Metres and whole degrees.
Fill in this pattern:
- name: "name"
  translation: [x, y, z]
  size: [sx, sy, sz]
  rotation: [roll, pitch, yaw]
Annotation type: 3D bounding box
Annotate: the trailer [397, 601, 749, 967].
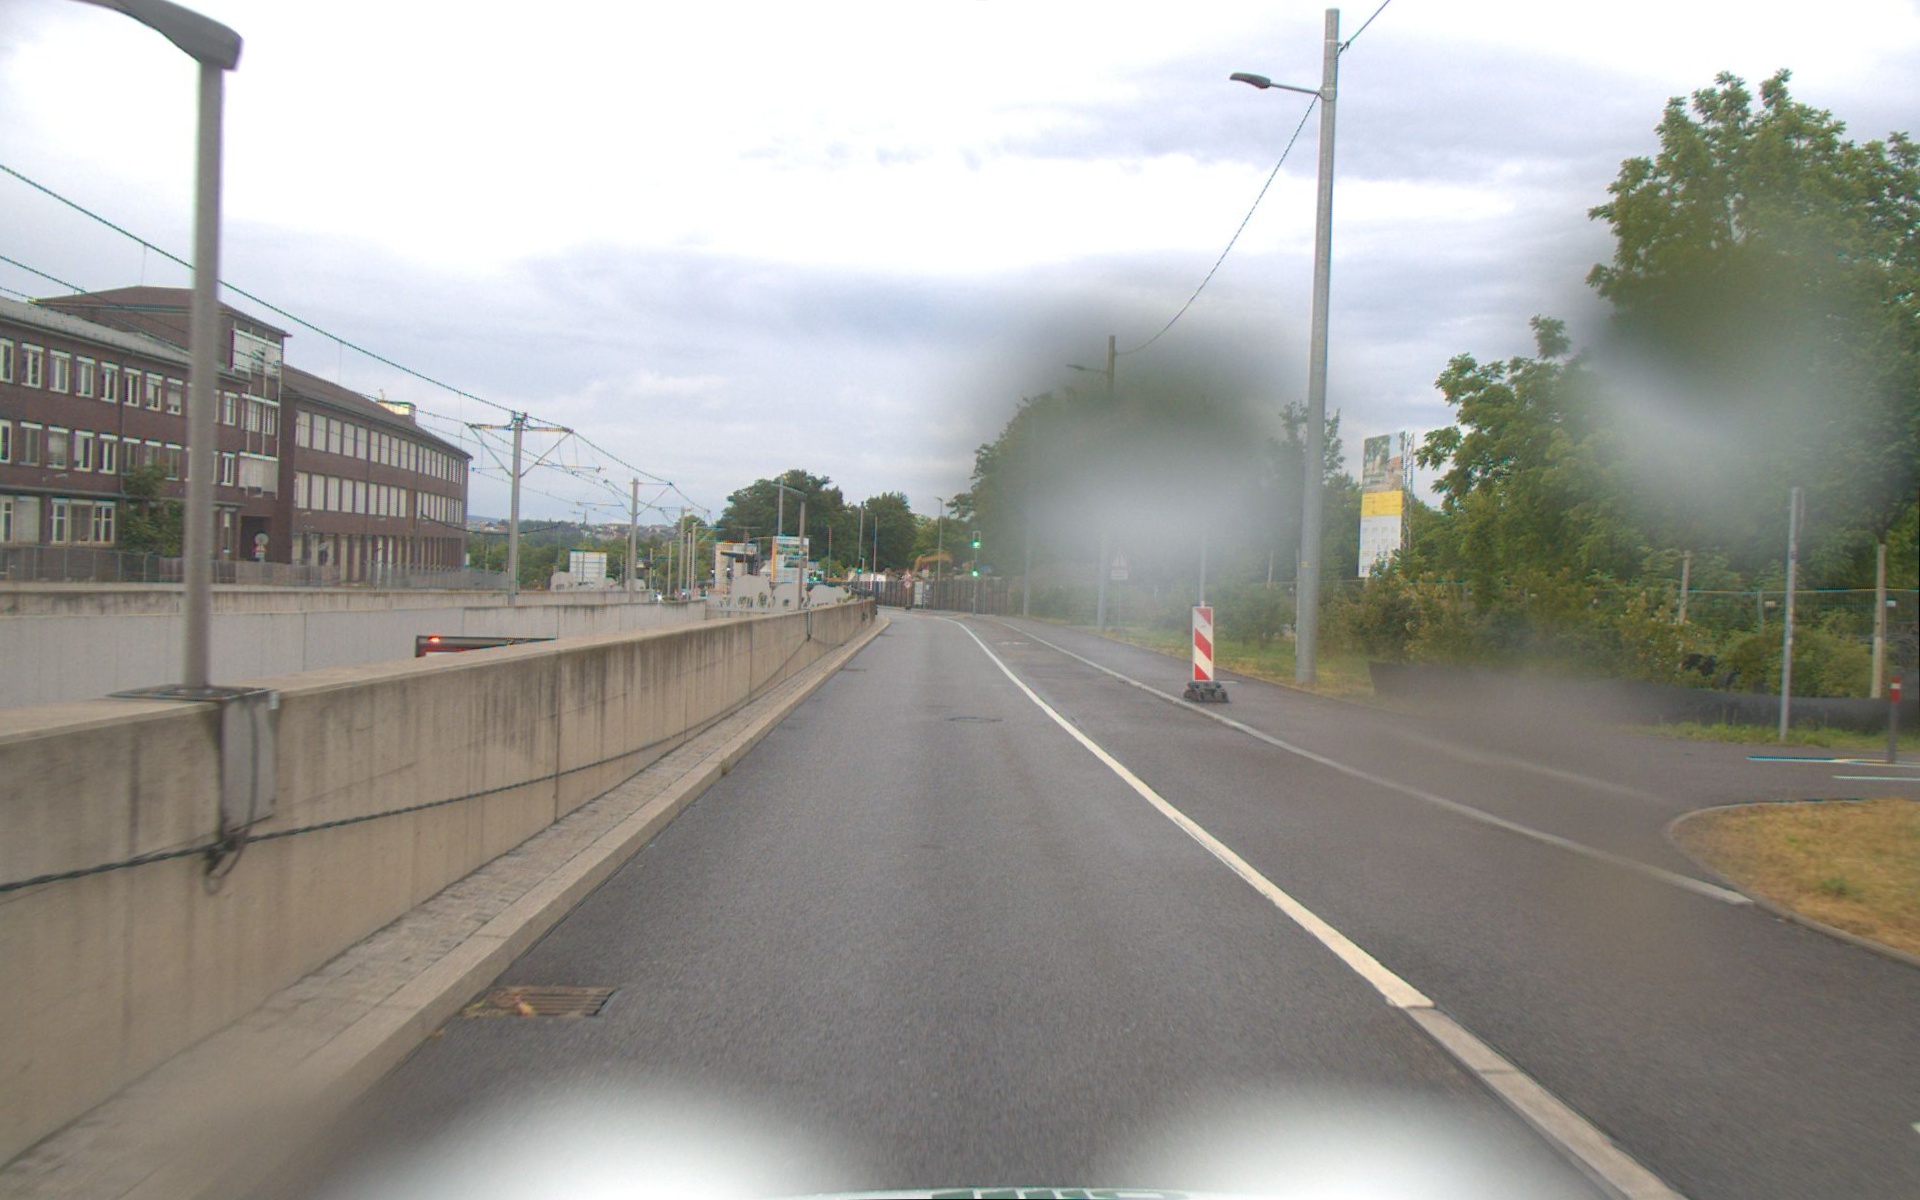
- name: "trailer"
  translation: [-5.539, 2.245, 26.694]
  size: [2.706, 4.327, 13.181]
  rotation: [0, 0, -1]
